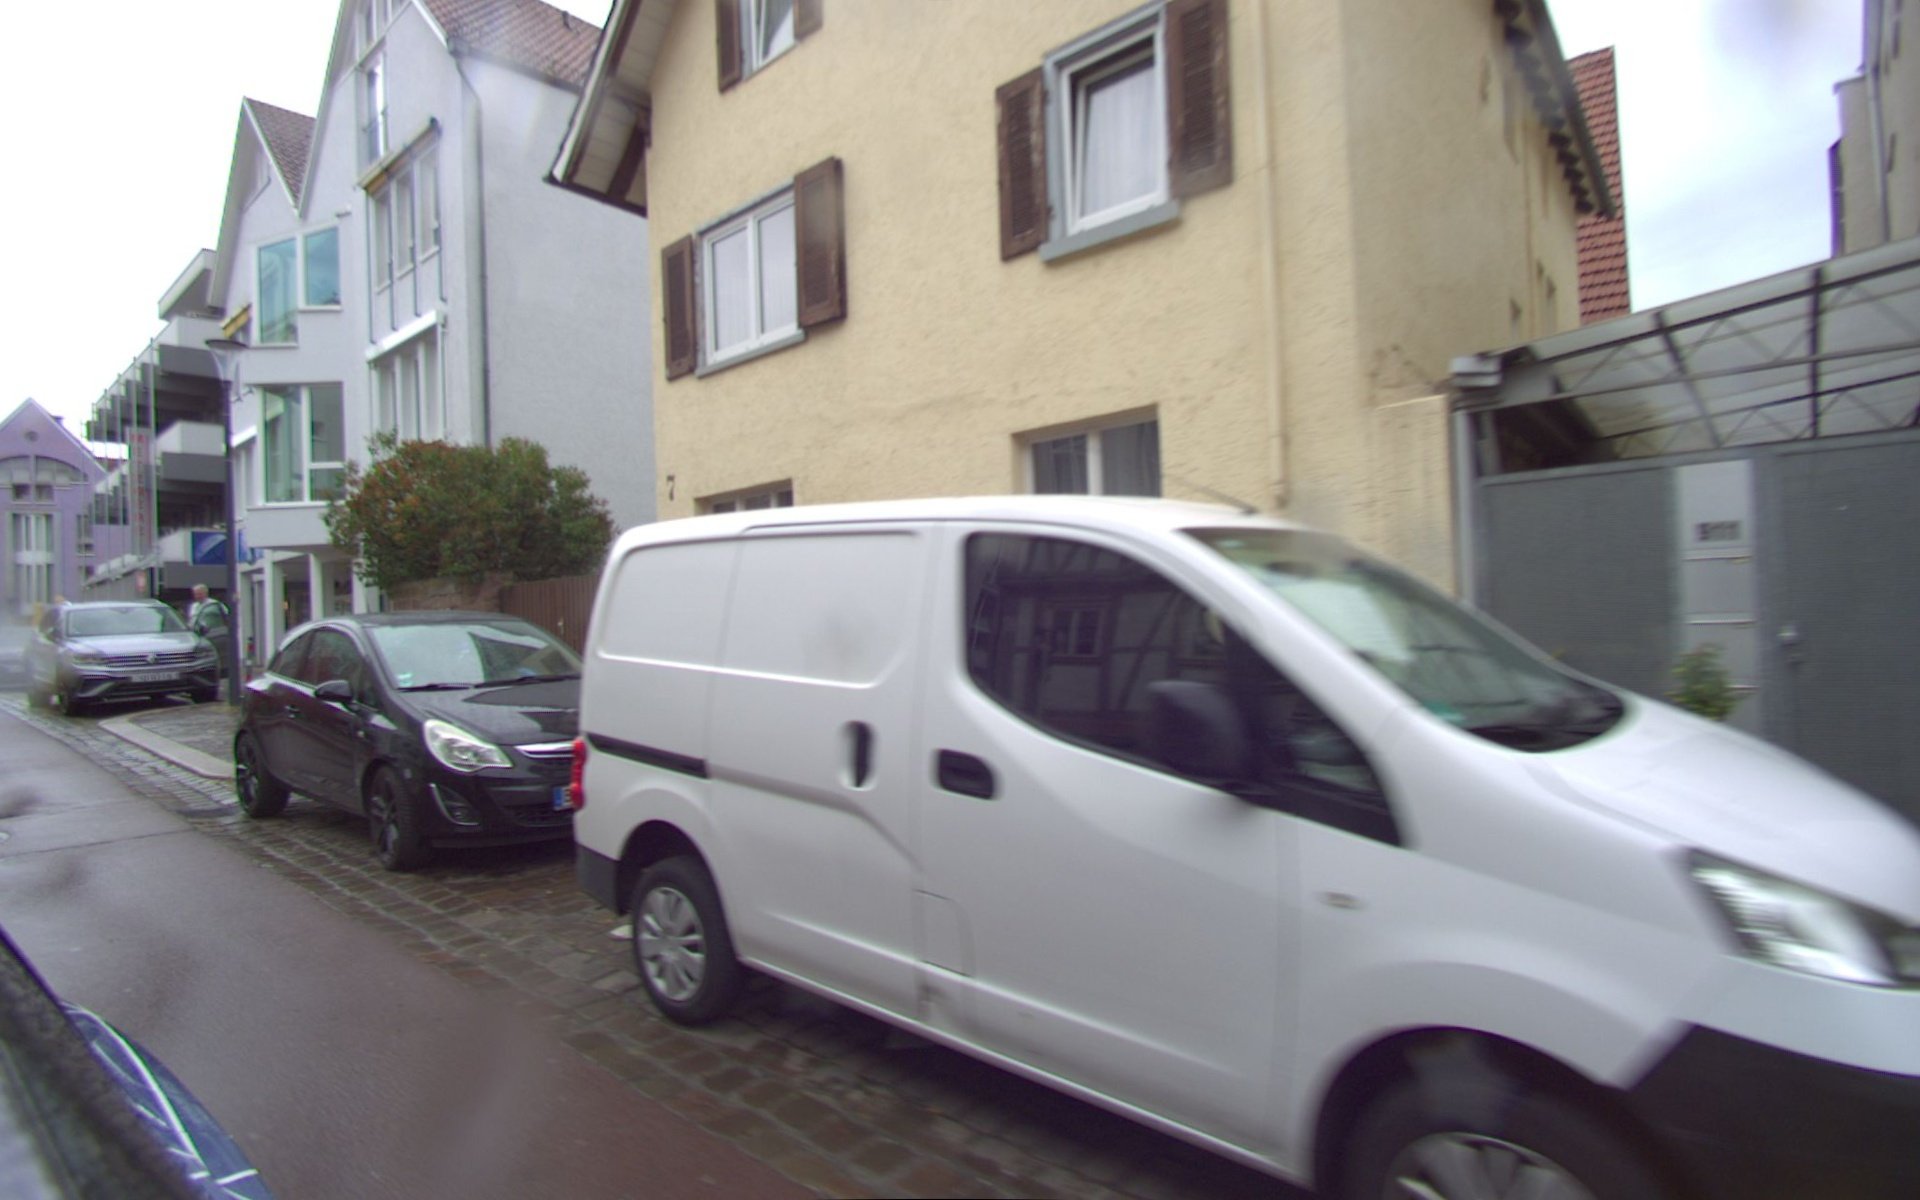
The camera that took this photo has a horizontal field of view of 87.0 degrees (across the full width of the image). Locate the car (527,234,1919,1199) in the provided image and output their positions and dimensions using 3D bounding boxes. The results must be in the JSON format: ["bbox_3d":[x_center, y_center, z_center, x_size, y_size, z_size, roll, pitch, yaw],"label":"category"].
[{"bbox_3d":[0.527,0.407,3.281,4.424,1.839,1.706,-1,0,40],"label":"car"}]

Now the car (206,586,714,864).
[{"bbox_3d":[-3.573,0.645,6.958,3.821,1.399,1.665,-1,0,39],"label":"car"}]

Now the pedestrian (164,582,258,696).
[{"bbox_3d":[-12.608,0.639,17.044,1.116,1.820,1.024,-3,-1,42],"label":"pedestrian"}]

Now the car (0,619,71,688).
[{"bbox_3d":[-22.780,1.283,24.234,4.763,1.510,1.810,-3,-2,43],"label":"car"}]

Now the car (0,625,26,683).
[{"bbox_3d":[-28.190,1.627,28.924,3.998,1.562,1.773,-4,-1,41],"label":"car"}]

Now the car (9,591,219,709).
[{"bbox_3d":[-13.236,0.693,15.743,4.404,1.580,1.762,-1,0,40],"label":"car"}]
